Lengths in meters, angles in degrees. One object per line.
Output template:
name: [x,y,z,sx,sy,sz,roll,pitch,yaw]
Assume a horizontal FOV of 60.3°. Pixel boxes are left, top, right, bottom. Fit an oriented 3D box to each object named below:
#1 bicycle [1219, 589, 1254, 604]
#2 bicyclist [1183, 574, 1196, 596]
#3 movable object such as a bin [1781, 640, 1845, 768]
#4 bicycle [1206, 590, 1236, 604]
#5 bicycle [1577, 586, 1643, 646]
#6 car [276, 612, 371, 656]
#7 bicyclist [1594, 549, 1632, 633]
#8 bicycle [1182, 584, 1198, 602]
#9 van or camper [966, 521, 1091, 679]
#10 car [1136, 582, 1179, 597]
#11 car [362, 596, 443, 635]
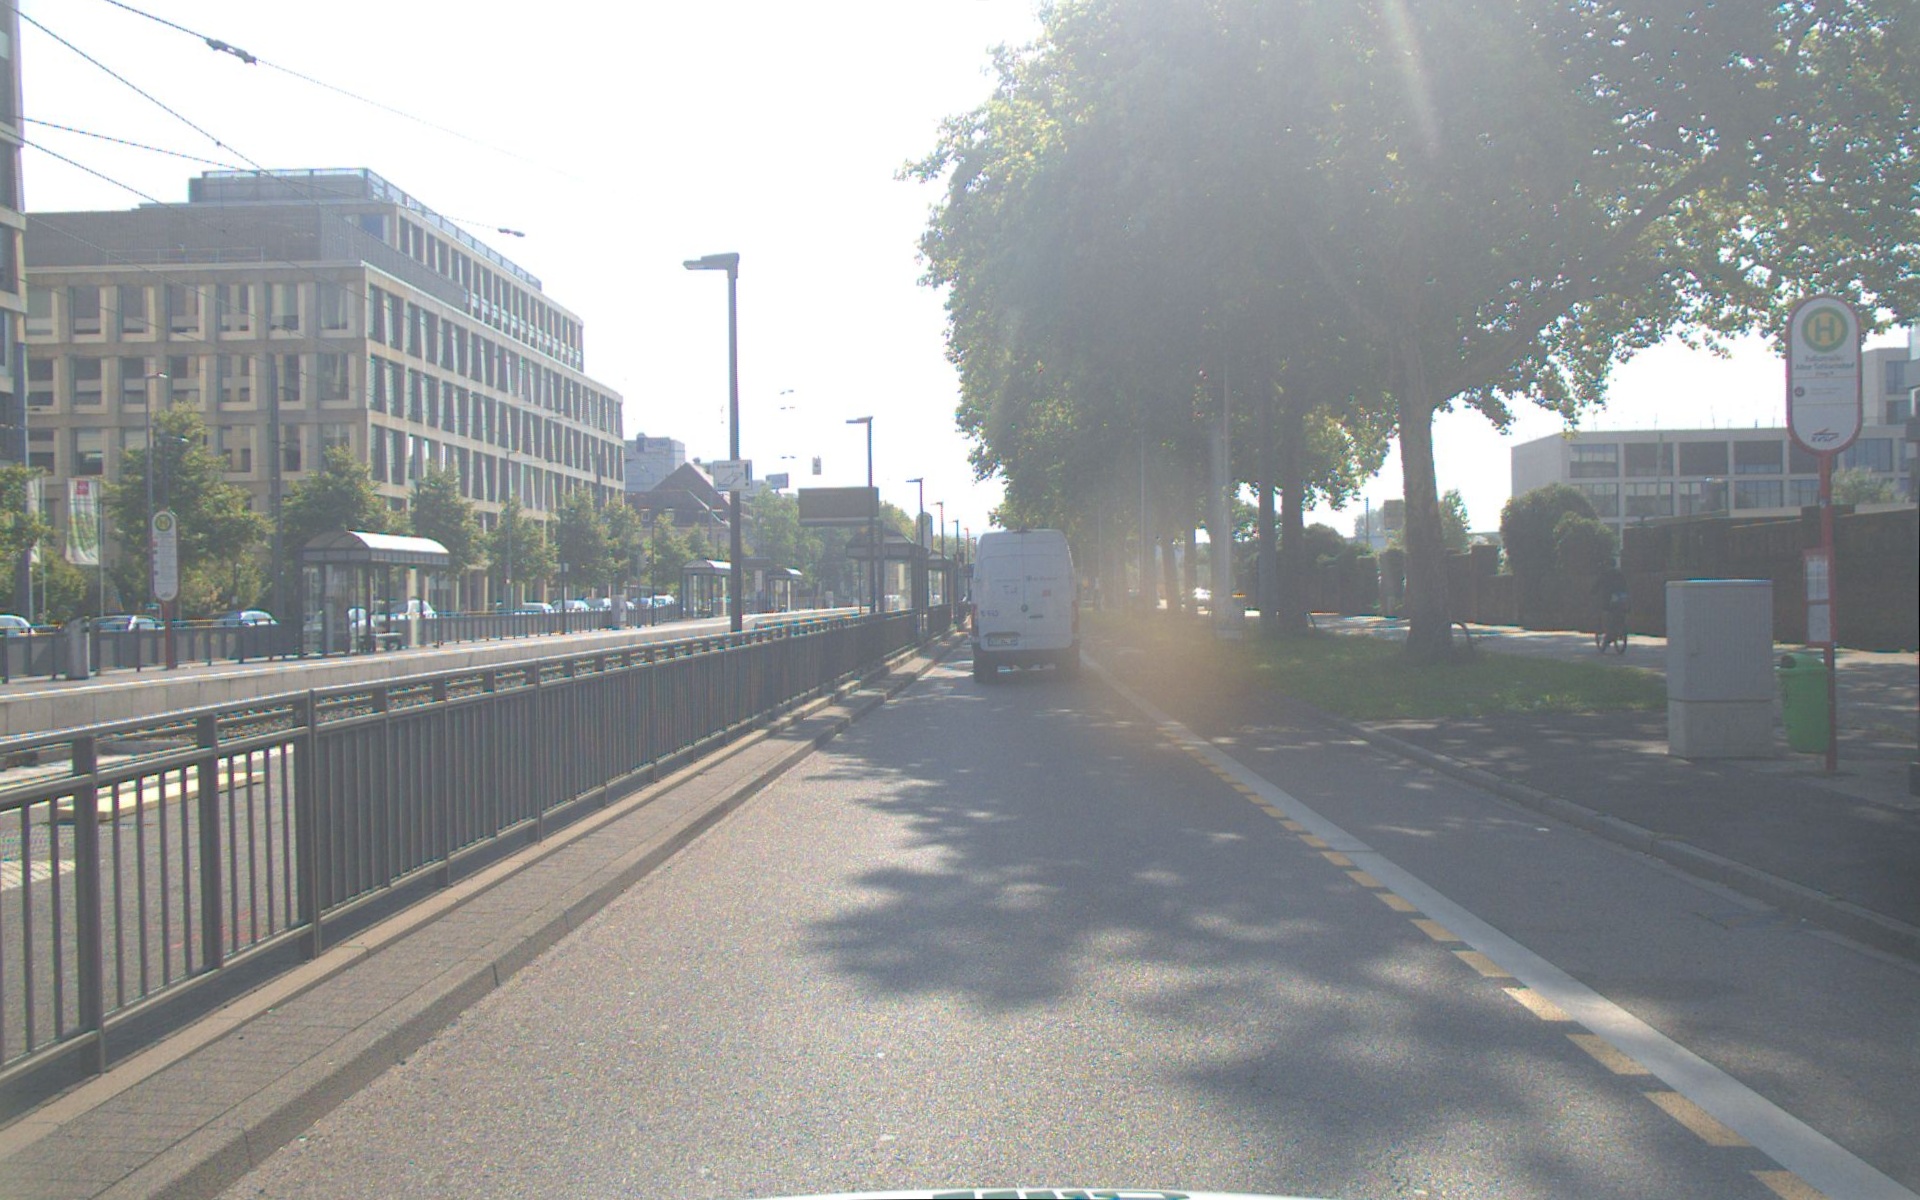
bicycle: [17.799,-0.205,106.400,2.134,0.861,0.503,-2,0,2]
bicyclist: [13.847,-0.922,99.711,0.655,1.298,0.728,-2,0,1]
movable object such as a bin: [6.445,0.777,12.506,0.266,0.931,0.386,-1,0,0]
bicycle: [17.232,-0.204,109.084,1.892,0.861,0.372,-2,0,2]
bicycle: [12.409,0.286,31.628,0.481,1.108,1.857,-1,1,-1]
car: [-22.917,1.201,59.698,1.649,1.432,4.374,-2,0,1]
bicyclist: [12.409,-0.166,31.433,0.459,1.566,0.596,-1,0,-1]
bicycle: [13.877,-0.422,99.826,0.667,1.022,2.218,-2,0,1]
van or camper: [1.200,-0.014,31.200,2.072,2.729,5.249,0,0,-1]
car: [19.022,-1.039,159.498,3.904,1.400,2.000,0,-1,2]
car: [-22.231,0.587,66.099,1.649,1.432,4.371,-2,0,1]
